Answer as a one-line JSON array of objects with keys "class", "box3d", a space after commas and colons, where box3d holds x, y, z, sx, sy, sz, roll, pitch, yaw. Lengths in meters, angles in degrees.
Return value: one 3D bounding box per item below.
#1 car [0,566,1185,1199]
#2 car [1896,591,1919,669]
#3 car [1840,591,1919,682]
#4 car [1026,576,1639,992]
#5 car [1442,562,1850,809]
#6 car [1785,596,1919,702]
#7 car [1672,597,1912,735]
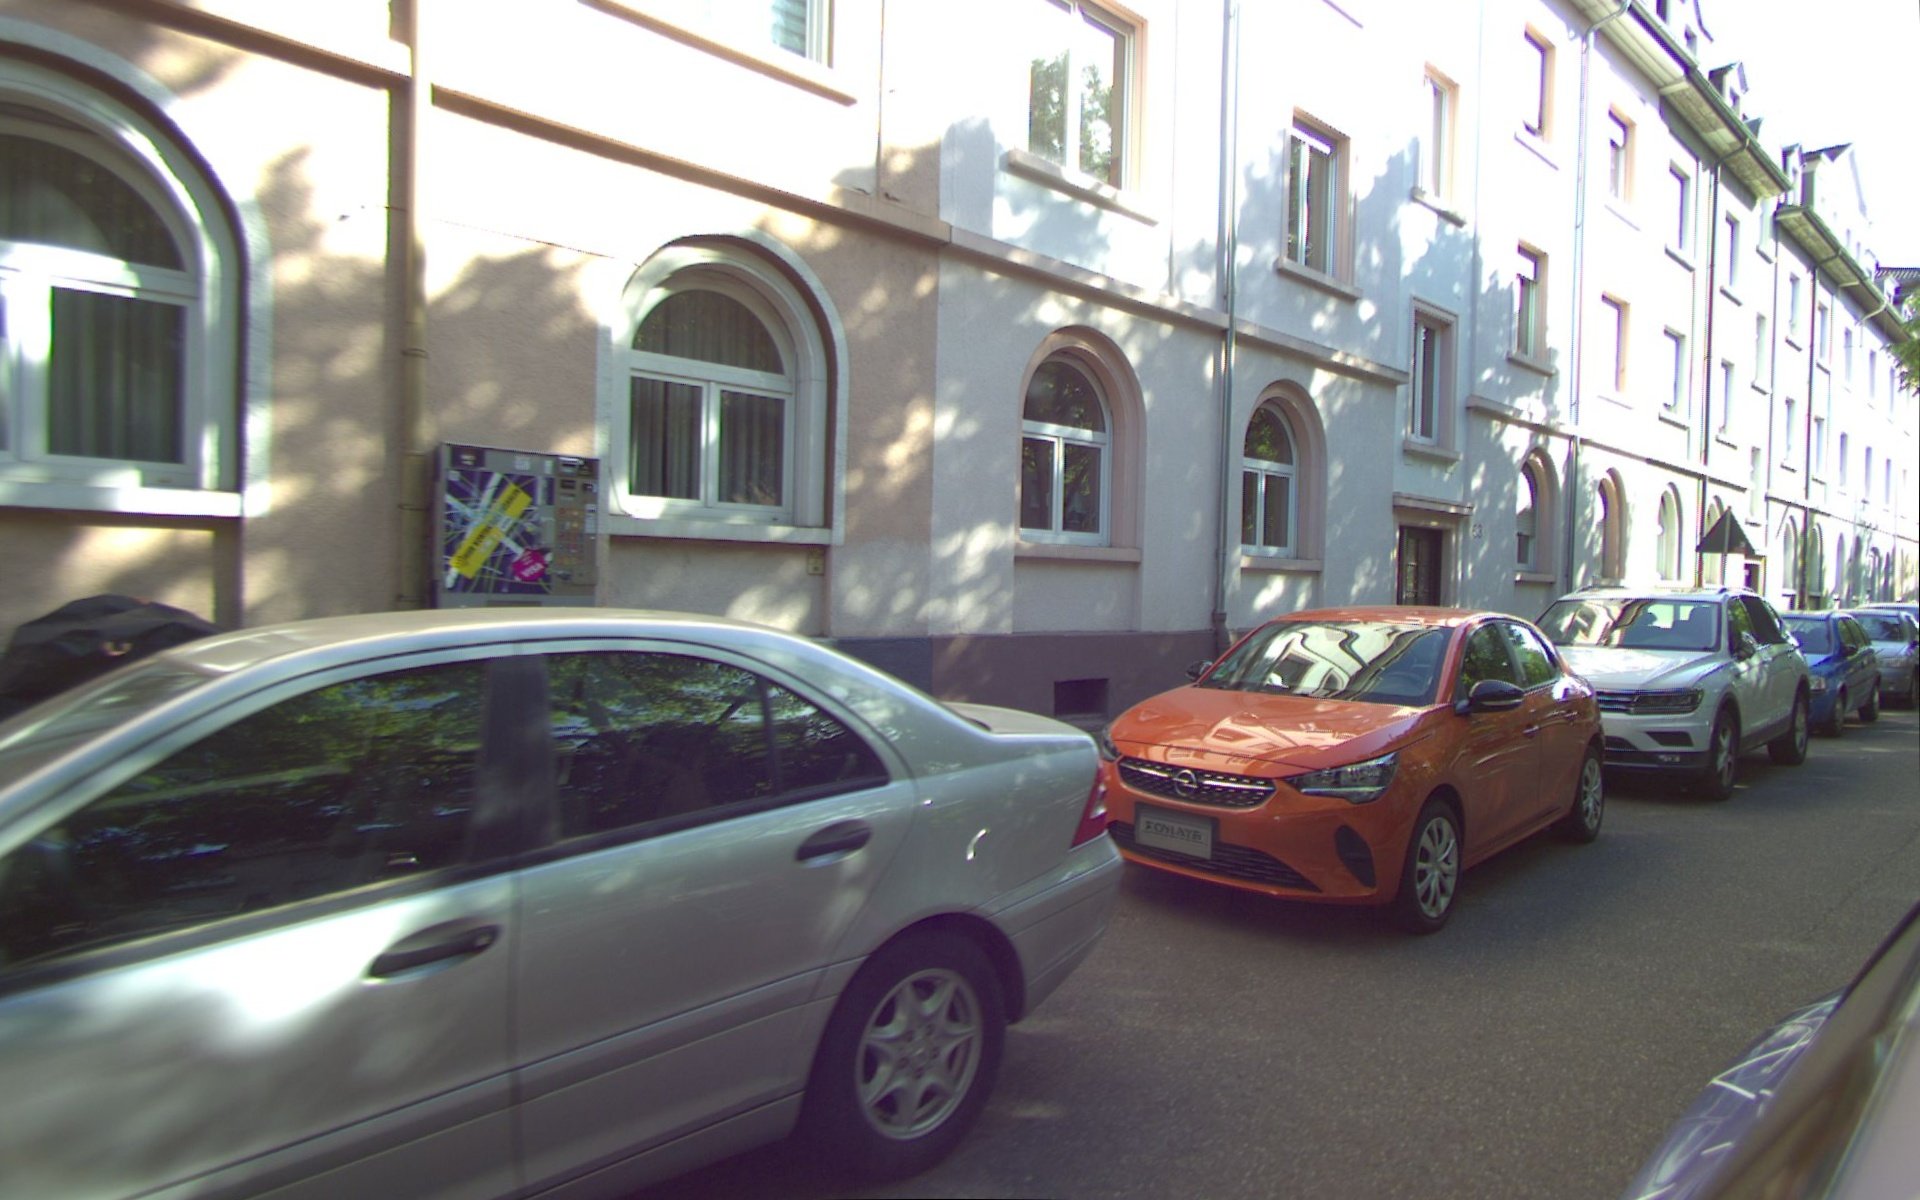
[{"class": "car", "box3d": [-1.611, 0.652, 2.501, 4.422, 1.427, 1.997, 0, 1, -41]}, {"class": "car", "box3d": [21.872, 0.658, 22.145, 4.088, 1.616, 1.724, 0, 1, -43]}, {"class": "car", "box3d": [17.857, 0.652, 18.923, 3.530, 1.554, 1.633, 0, 1, -41]}, {"class": "car", "box3d": [2.356, 0.684, 5.818, 3.898, 1.543, 1.792, 0, 1, -44]}, {"class": "car", "box3d": [6.337, 0.573, 9.119, 4.589, 1.695, 1.821, 0, 1, -40]}, {"class": "car", "box3d": [14.401, 0.688, 15.862, 4.017, 1.430, 1.633, 0, 1, -41]}, {"class": "car", "box3d": [10.449, 0.710, 12.626, 3.720, 1.430, 1.621, 0, 1, -40]}]
